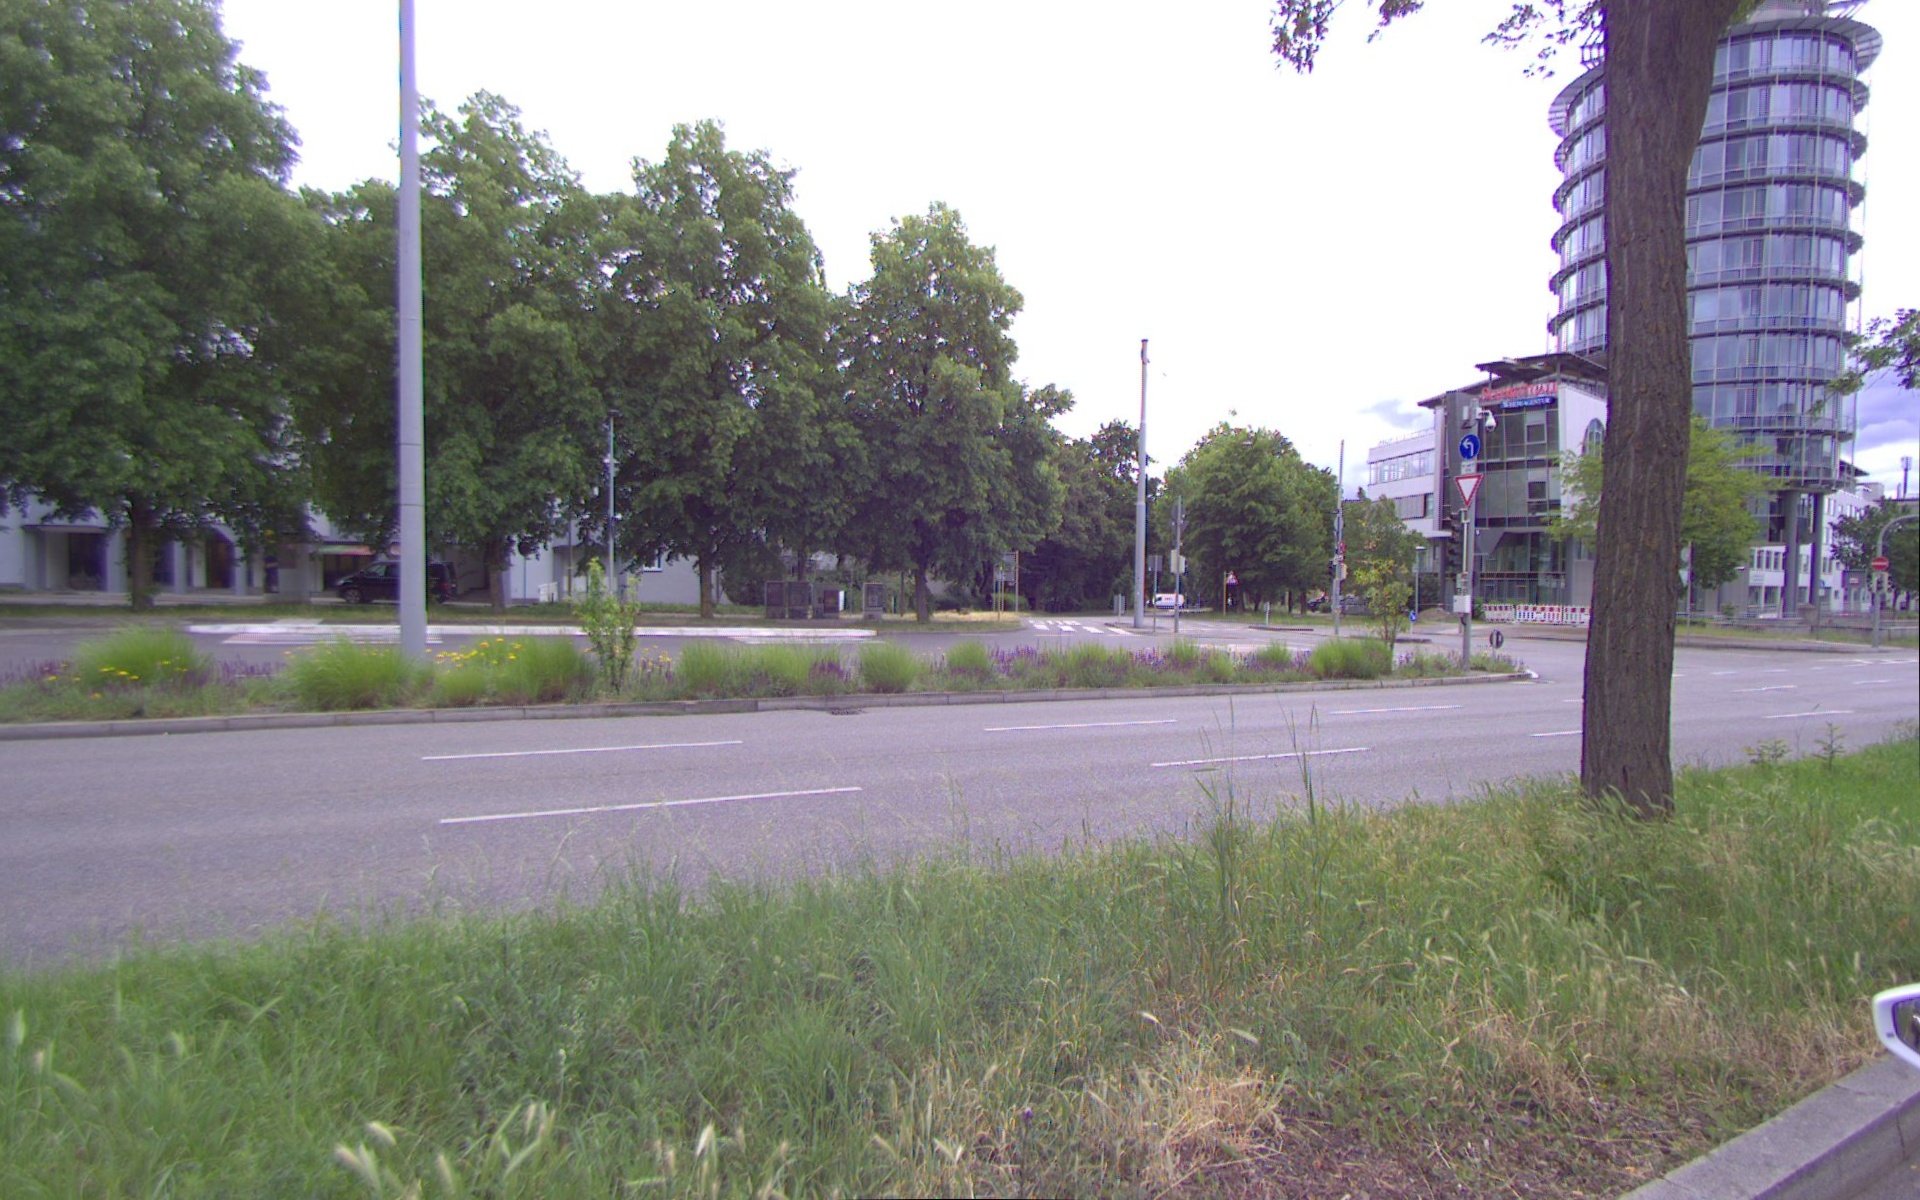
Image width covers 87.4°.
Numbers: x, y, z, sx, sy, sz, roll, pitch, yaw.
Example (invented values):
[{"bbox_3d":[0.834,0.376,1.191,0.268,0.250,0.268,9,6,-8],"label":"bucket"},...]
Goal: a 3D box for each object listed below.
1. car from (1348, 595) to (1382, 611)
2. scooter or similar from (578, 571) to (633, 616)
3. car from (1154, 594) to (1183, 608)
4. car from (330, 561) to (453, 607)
[{"bbox_3d":[23.556,0.179,58.391,1.684,0.888,0.776,1,0,7],"label":"car"},{"bbox_3d":[-13.383,-0.239,37.900,1.835,1.686,0.645,1,1,-43],"label":"scooter or similar"},{"bbox_3d":[36.234,0.198,174.608,4.475,2.370,1.994,2,0,-15],"label":"car"},{"bbox_3d":[-24.821,-0.692,44.014,4.345,1.872,1.781,1,1,-16],"label":"car"}]
